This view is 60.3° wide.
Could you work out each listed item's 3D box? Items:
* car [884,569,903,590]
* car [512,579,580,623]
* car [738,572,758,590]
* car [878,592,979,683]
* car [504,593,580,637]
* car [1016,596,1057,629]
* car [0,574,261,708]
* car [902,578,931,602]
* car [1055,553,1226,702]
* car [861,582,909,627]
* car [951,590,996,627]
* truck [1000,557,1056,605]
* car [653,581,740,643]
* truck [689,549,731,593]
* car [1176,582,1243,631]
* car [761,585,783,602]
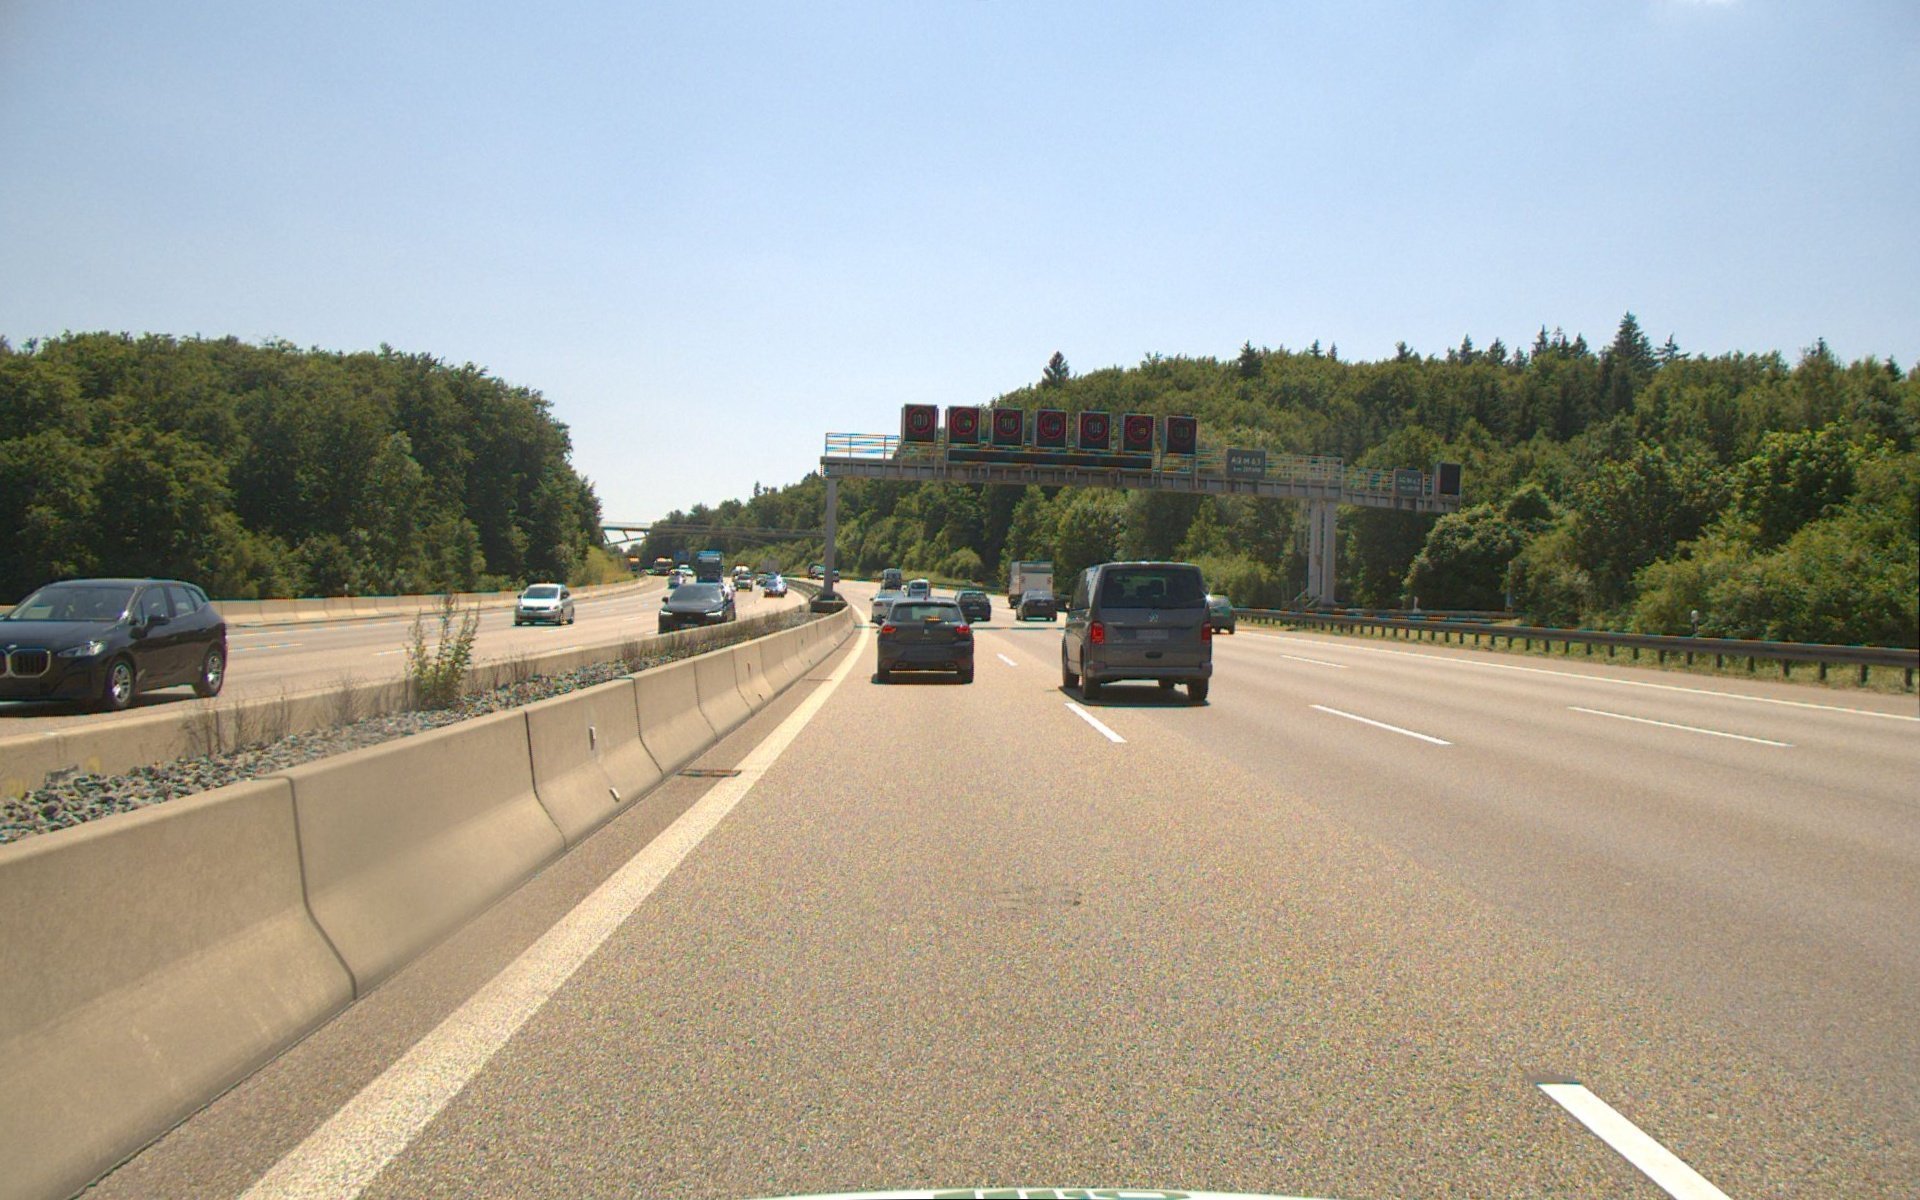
[{"bbox_3d":[-7.899,-2.385,197.034,2.219,2.413,4.700,0,0,-2],"label":"car"},{"bbox_3d":[-15.945,0.039,63.871,1.683,1.633,4.280,0,0,-2],"label":"car"},{"bbox_3d":[-23.513,-2.100,183.399,1.955,2.001,4.778,1,0,-5],"label":"car"},{"bbox_3d":[-0.572,0.620,29.632,1.673,1.458,3.999,1,1,-1],"label":"car"},{"bbox_3d":[-16.036,0.543,63.701,1.954,1.558,4.376,2,1,-3],"label":"car"},{"bbox_3d":[3.736,0.592,81.529,1.631,1.433,4.902,1,1,-1],"label":"car"},{"bbox_3d":[-10.760,0.464,21.319,1.725,1.547,4.361,0,0,-2],"label":"car"},{"bbox_3d":[-3.325,-0.766,126.347,2.061,1.774,4.685,1,1,-3],"label":"car"},{"bbox_3d":[2.675,0.379,25.634,1.923,2.069,5.081,0,0,-2],"label":"car"},{"bbox_3d":[-3.512,0.239,76.886,1.973,1.878,3.994,1,-2,-6],"label":"car"},{"bbox_3d":[0.615,0.408,80.695,1.954,1.758,4.146,0,-1,-3],"label":"car"},{"bbox_3d":[4.729,-1.368,116.145,2.927,3.222,7.567,1,1,-5],"label":"truck"},{"bbox_3d":[-7.586,0.312,48.000,1.953,1.697,4.433,0,0,-2],"label":"car"},{"bbox_3d":[-25.109,-2.855,166.340,3.712,4.250,5.873,2,0,-5],"label":"truck"},{"bbox_3d":[9.453,0.234,62.922,1.952,1.758,4.000,0,0,0],"label":"car"},{"bbox_3d":[-17.159,-0.604,151.066,1.817,1.545,4.517,0,0,-5],"label":"car"}]
